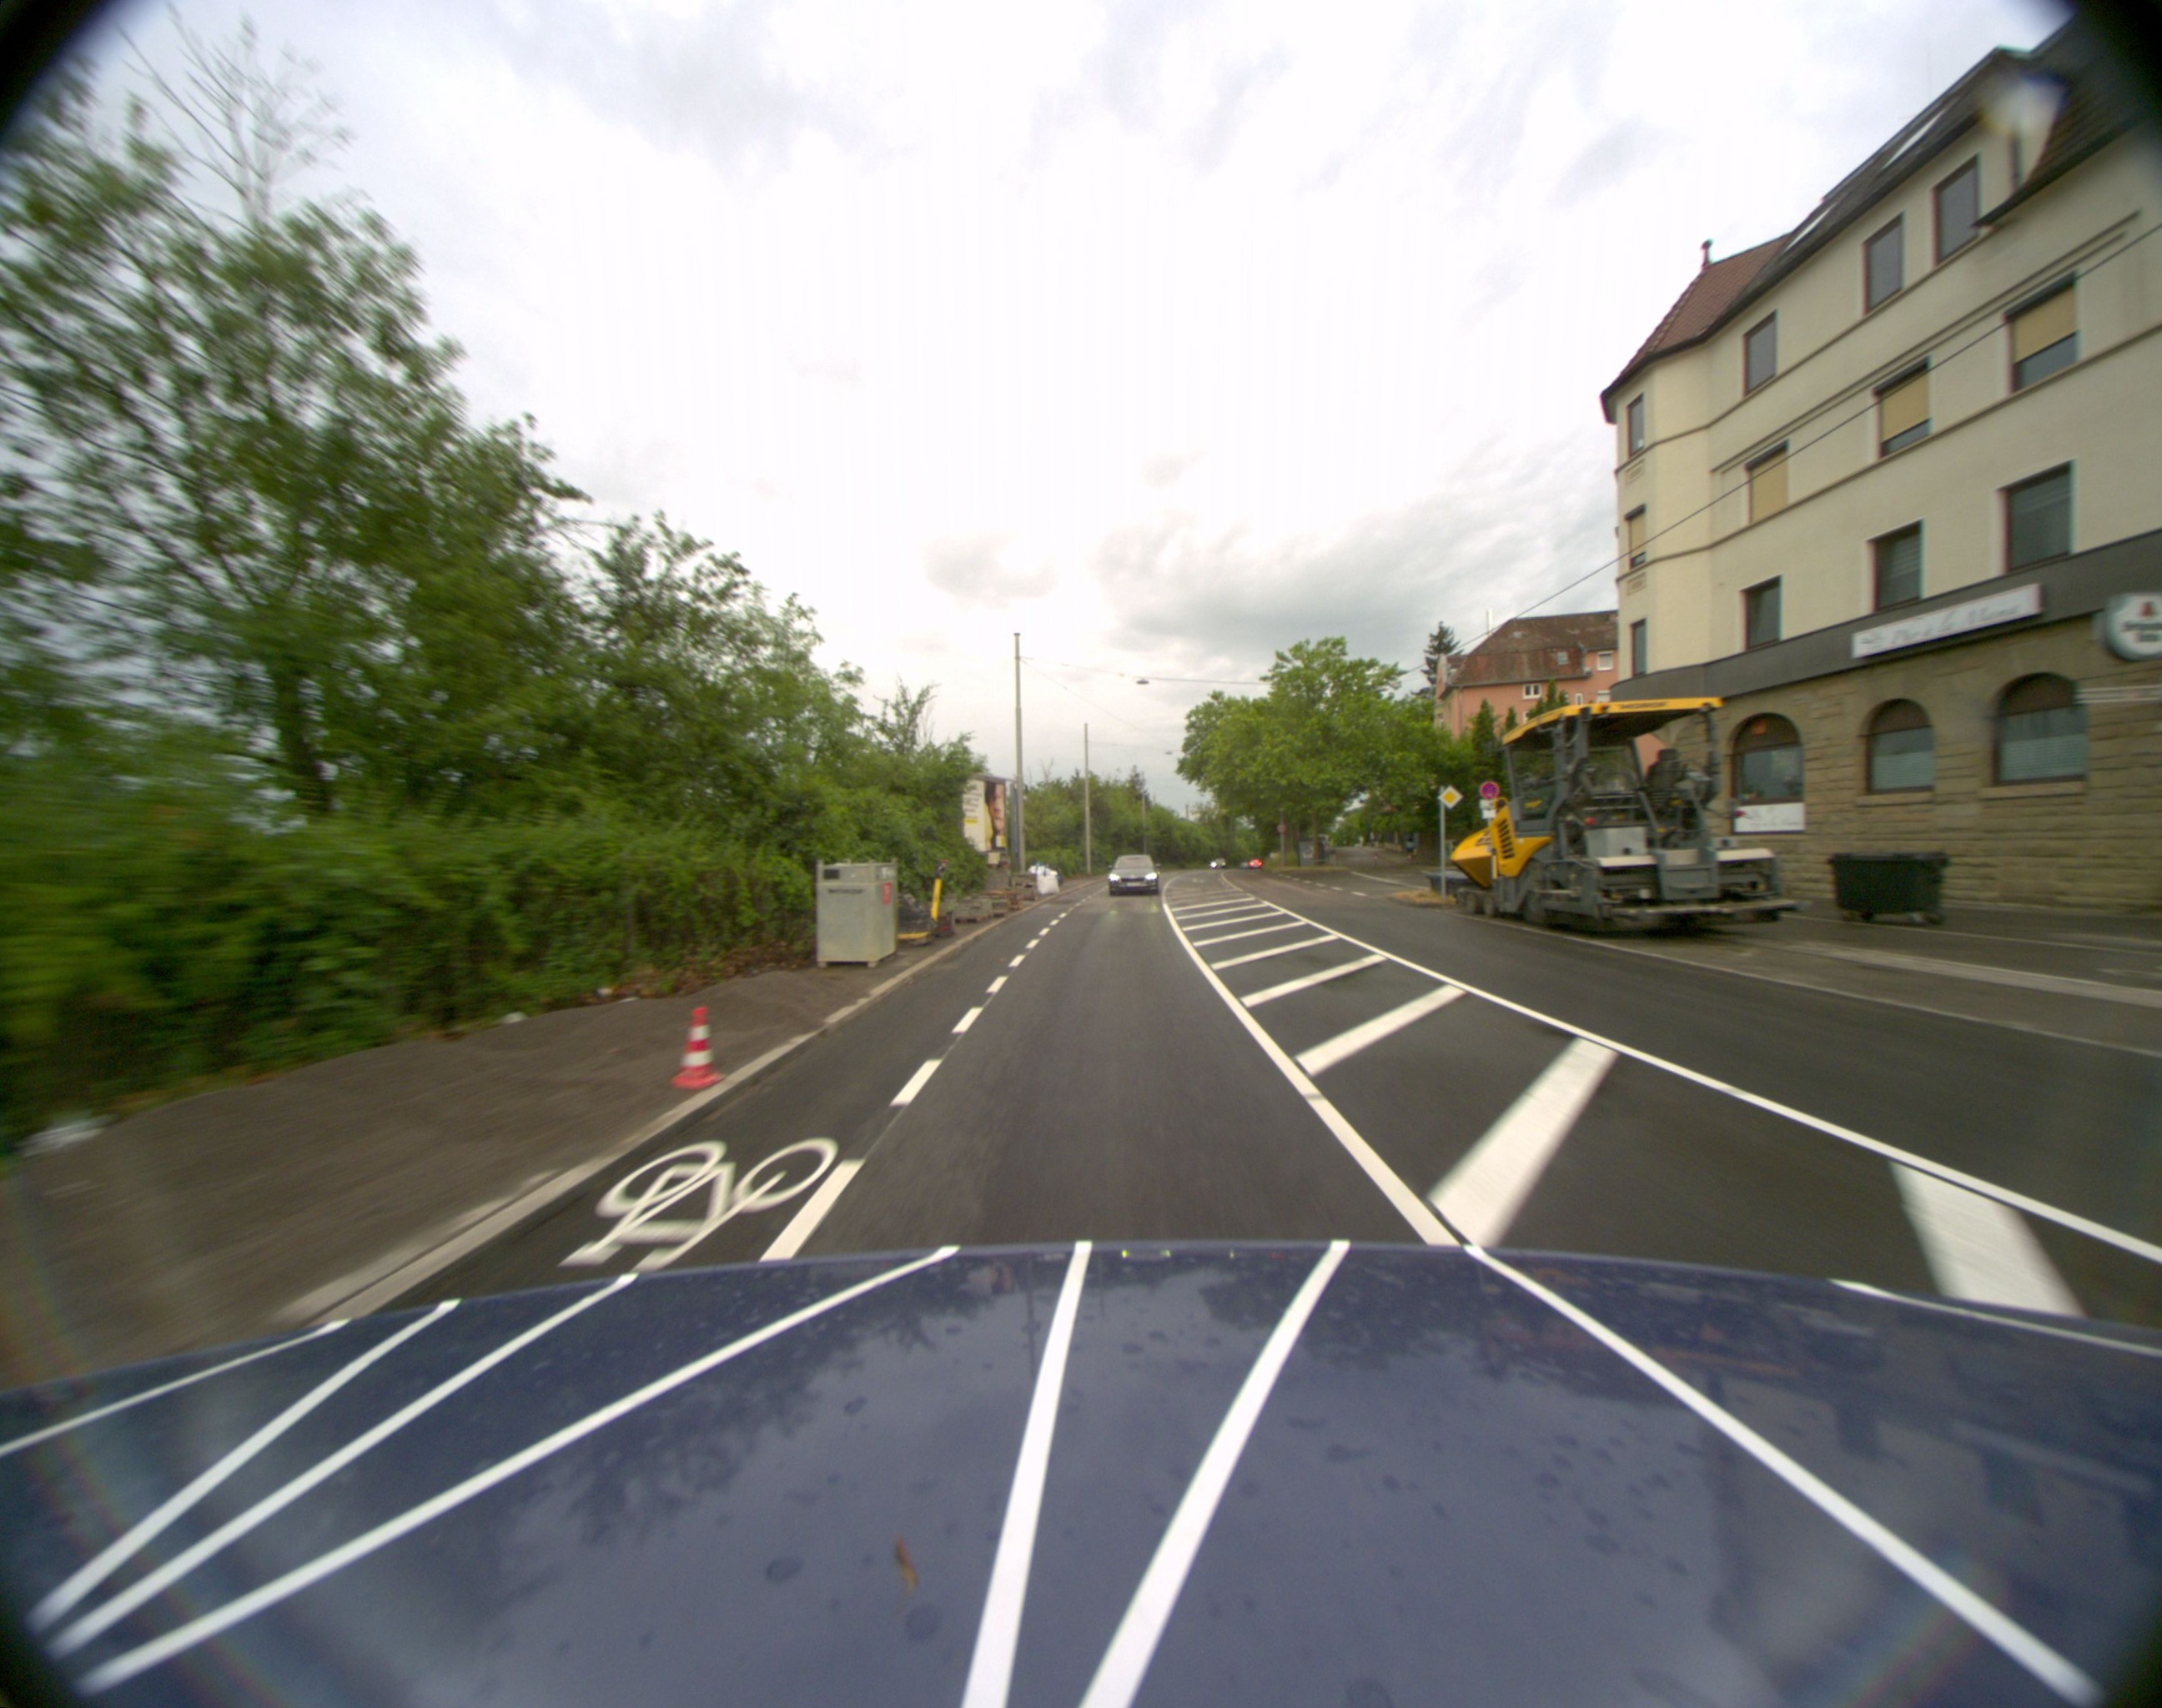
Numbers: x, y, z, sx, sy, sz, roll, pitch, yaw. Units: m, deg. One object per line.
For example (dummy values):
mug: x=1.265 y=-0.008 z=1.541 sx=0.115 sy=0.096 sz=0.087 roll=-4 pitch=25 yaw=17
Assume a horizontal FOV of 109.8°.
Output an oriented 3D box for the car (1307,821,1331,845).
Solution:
car: x=21.995 y=-1.884 z=70.205 sx=1.996 sy=2.001 sz=4.634 roll=-3 pitch=-1 yaw=18

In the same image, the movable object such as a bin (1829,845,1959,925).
movable object such as a bin: x=13.378 y=0.503 z=12.534 sx=0.894 sy=1.215 sz=1.202 roll=-2 pitch=-1 yaw=-24

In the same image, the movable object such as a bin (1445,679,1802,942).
movable object such as a bin: x=9.554 y=-0.584 z=14.423 sx=2.780 sy=3.832 sz=5.991 roll=-3 pitch=-1 yaw=6

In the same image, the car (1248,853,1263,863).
car: x=25.920 y=0.579 z=112.664 sx=2.074 sy=1.344 sz=4.719 roll=-3 pitch=-1 yaw=14

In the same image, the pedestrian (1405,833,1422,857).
pedestrian: x=19.655 y=-0.510 z=44.943 sx=0.792 sy=1.346 sz=0.792 roll=-3 pitch=-1 yaw=18

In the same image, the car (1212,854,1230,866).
car: x=18.688 y=0.796 z=101.048 sx=1.996 sy=1.433 sz=4.005 roll=-3 pitch=-1 yaw=14

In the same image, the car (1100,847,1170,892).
car: x=2.108 y=0.579 z=28.459 sx=1.979 sy=1.496 sz=4.004 roll=-3 pitch=-1 yaw=12
